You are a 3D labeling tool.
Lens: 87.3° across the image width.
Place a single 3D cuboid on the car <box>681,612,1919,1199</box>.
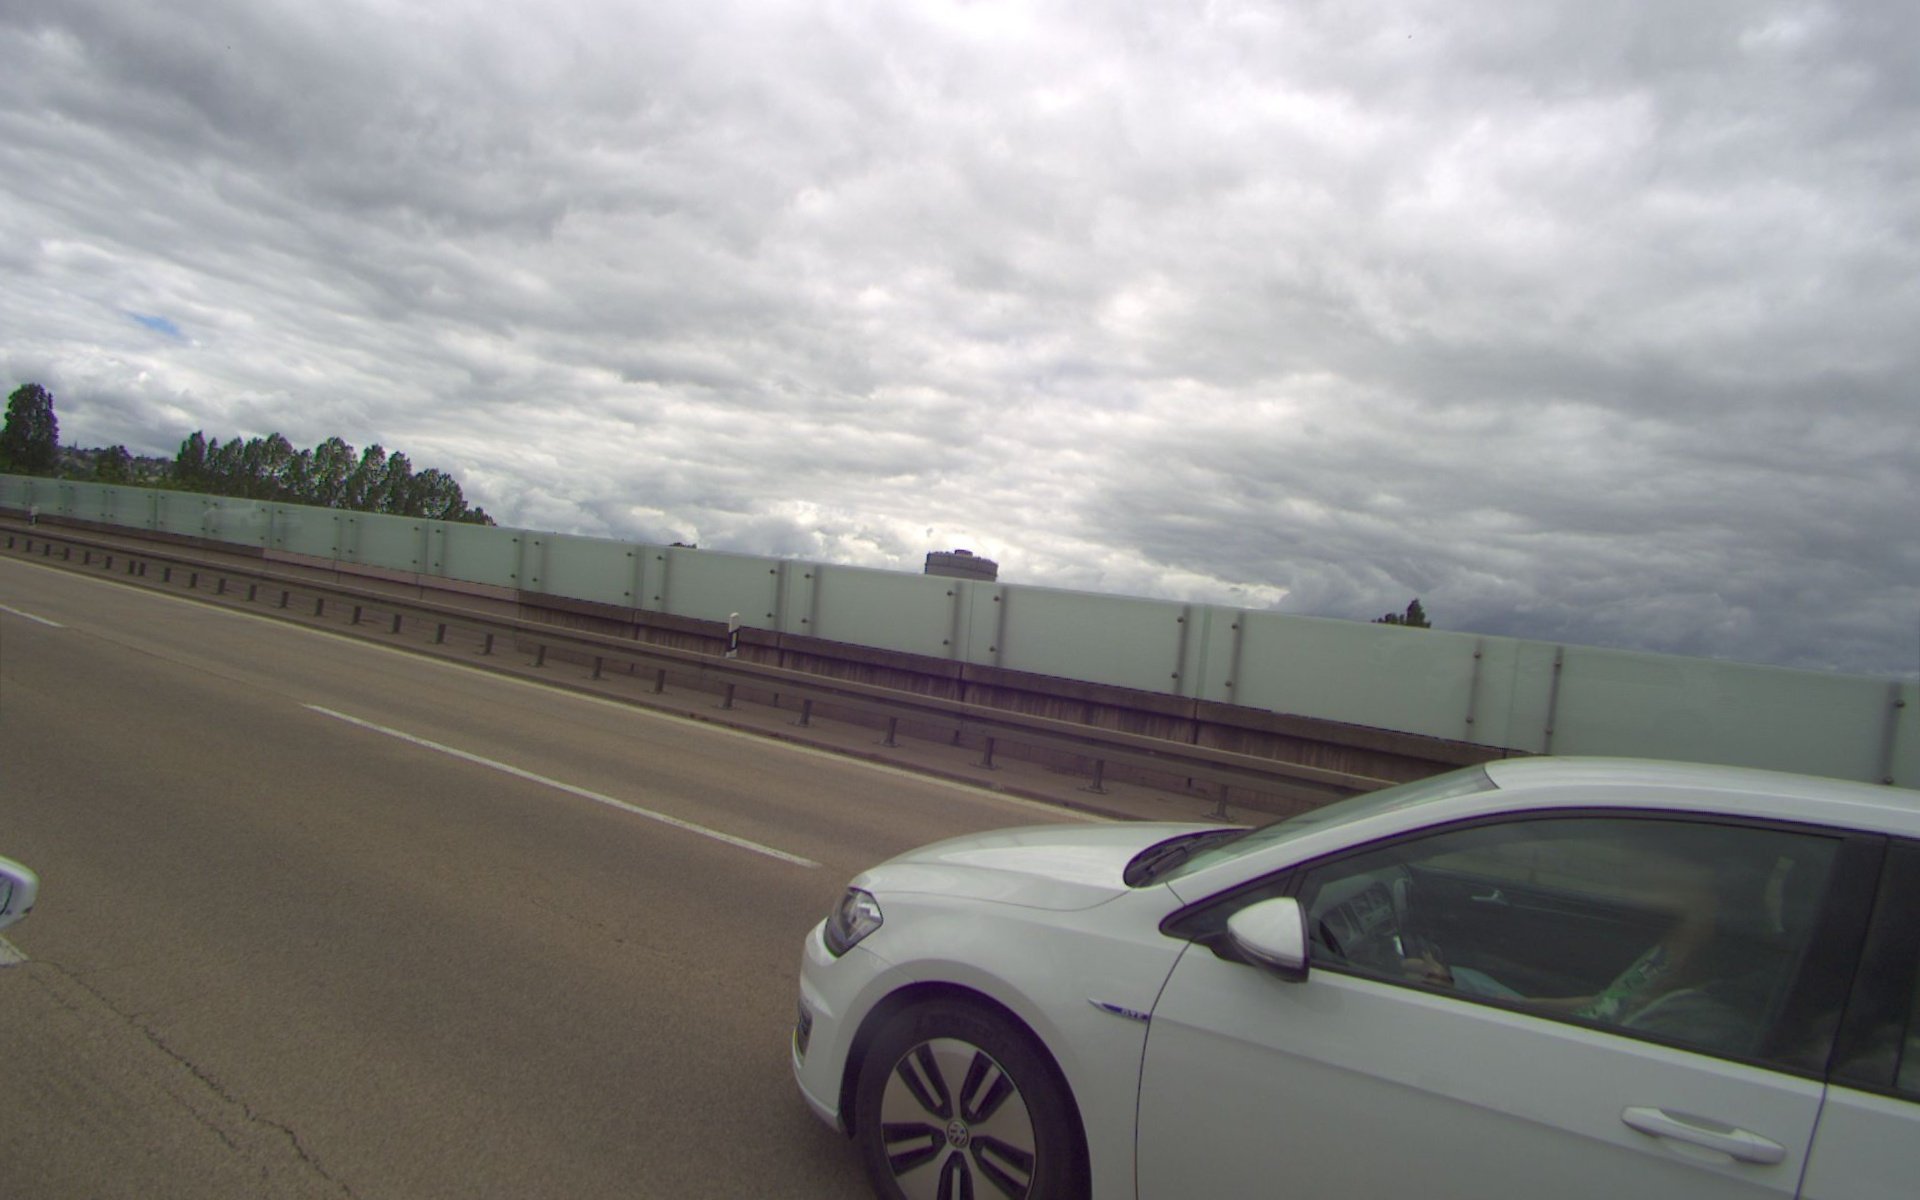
[{"bbox_3d":[1.472,1.047,2.459,4.004,1.469,1.757,7,-1,31],"label":"car"}]
